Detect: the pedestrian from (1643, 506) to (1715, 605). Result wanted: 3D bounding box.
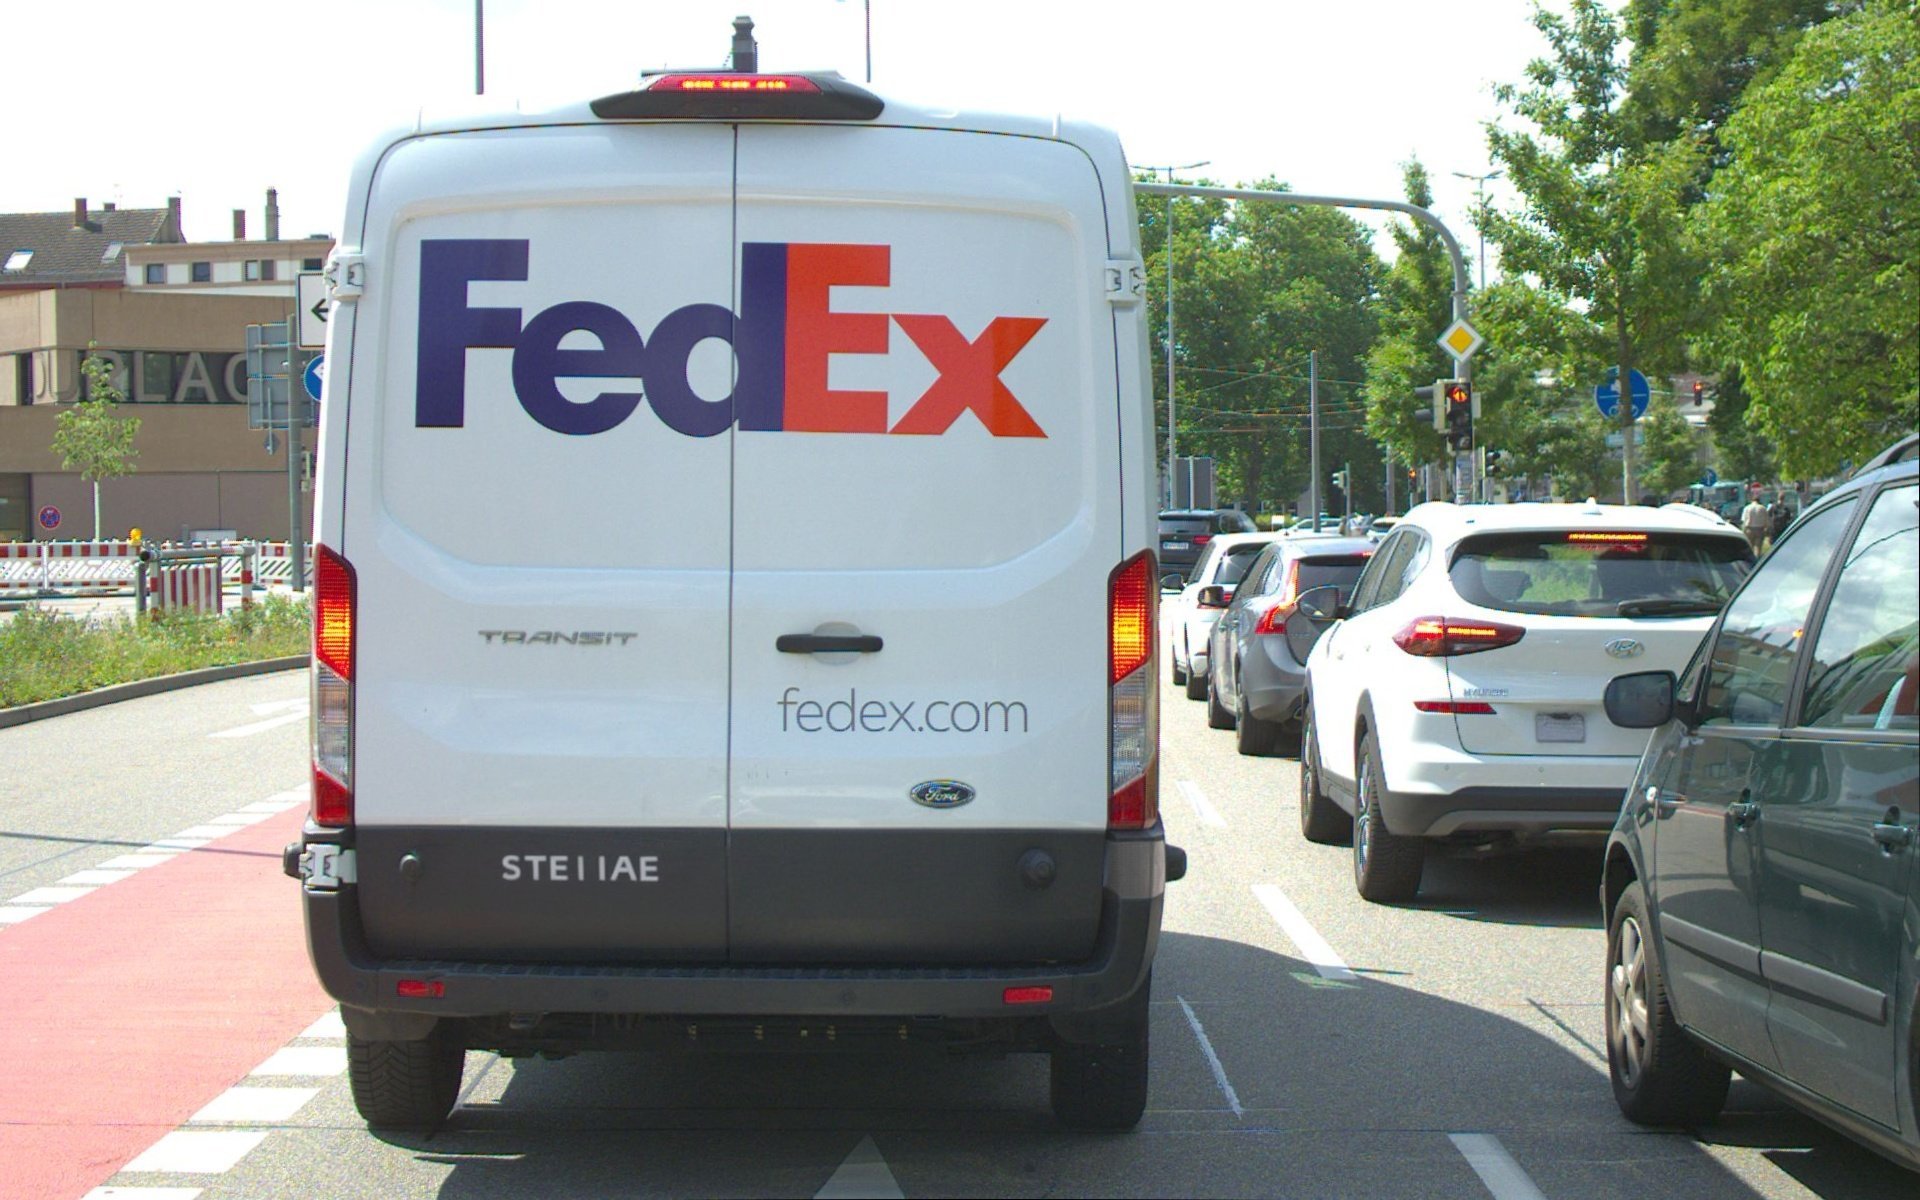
[{"bbox_3d":[10.158,-0.635,48.566,0.845,1.384,0.741,-1,1,-1],"label":"pedestrian"}]

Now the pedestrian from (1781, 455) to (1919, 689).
[{"bbox_3d":[7.301,-0.234,28.176,0.950,1.886,0.774,0,1,-1],"label":"pedestrian"}]

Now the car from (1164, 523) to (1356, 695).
[{"bbox_3d":[2.626,0.035,30.606,1.484,1.423,3.433,0,1,1],"label":"car"}]

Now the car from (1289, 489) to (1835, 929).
[{"bbox_3d":[2.502,0.368,15.191,1.798,1.681,4.000,0,1,1],"label":"car"}]

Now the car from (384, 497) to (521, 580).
[{"bbox_3d":[-12.671,-1.524,86.110,1.995,2.007,3.998,-1,1,14],"label":"car"}]

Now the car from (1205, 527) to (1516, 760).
[{"bbox_3d":[2.696,0.240,23.876,1.798,1.456,3.838,0,1,1],"label":"car"}]

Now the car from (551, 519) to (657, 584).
[{"bbox_3d":[-9.358,-1.278,90.656,1.879,1.646,3.999,-1,1,8],"label":"car"}]

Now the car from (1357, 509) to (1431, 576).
[{"bbox_3d":[12.119,-1.592,95.874,1.994,1.787,4.370,-1,1,8],"label":"car"}]

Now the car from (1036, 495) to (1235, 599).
[{"bbox_3d":[3.590,-1.075,69.484,2.096,2.007,4.636,0,1,31],"label":"car"}]

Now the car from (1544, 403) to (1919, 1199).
[{"bbox_3d":[2.537,0.496,7.232,1.812,1.728,4.389,0,1,-1],"label":"car"}]

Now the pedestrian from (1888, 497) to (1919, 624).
[{"bbox_3d":[11.869,-0.493,41.983,0.845,1.533,0.835,-1,1,-1],"label":"pedestrian"}]

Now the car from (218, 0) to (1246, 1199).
[{"bbox_3d":[-0.692,-0.035,10.033,2.140,2.643,5.705,0,1,-5],"label":"car"}]

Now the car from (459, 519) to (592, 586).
[{"bbox_3d":[-10.646,-1.177,84.468,1.902,1.579,3.998,-1,1,14],"label":"car"}]
